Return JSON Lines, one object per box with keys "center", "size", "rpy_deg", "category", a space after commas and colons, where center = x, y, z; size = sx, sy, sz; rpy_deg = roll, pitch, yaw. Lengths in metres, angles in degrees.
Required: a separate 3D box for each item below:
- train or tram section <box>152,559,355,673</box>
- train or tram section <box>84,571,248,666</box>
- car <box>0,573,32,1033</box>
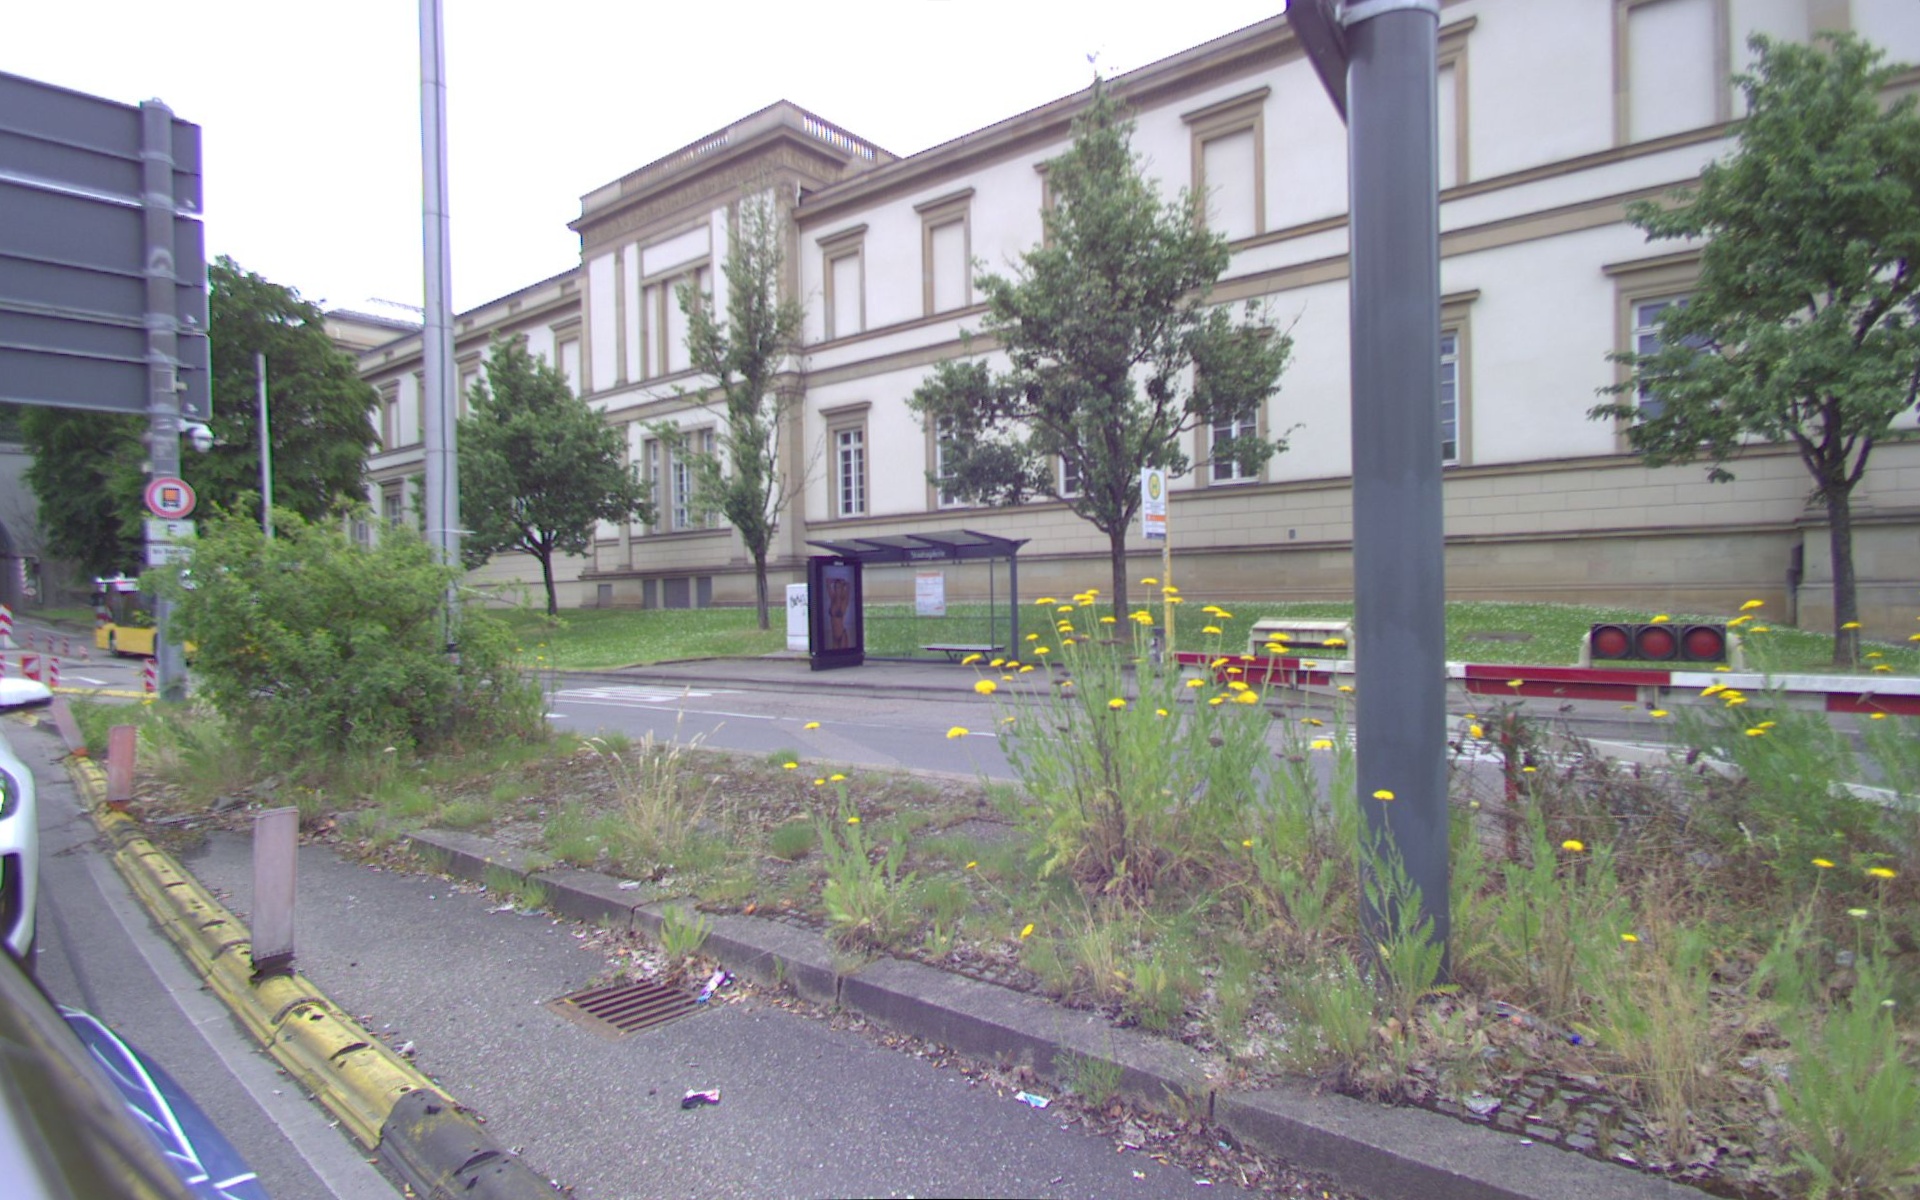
{"center": [-22.069, 0.539, 31.338], "size": [9.326, 3.094, 2.667], "rpy_deg": [-2, -2, 39], "category": "train or tram section"}
{"center": [-29.346, 0.718, 37.202], "size": [9.365, 3.094, 2.667], "rpy_deg": [-1, -2, 39], "category": "train or tram section"}
{"center": [-5.236, 0.718, 4.207], "size": [3.911, 1.568, 1.733], "rpy_deg": [-1, 0, 43], "category": "car"}
